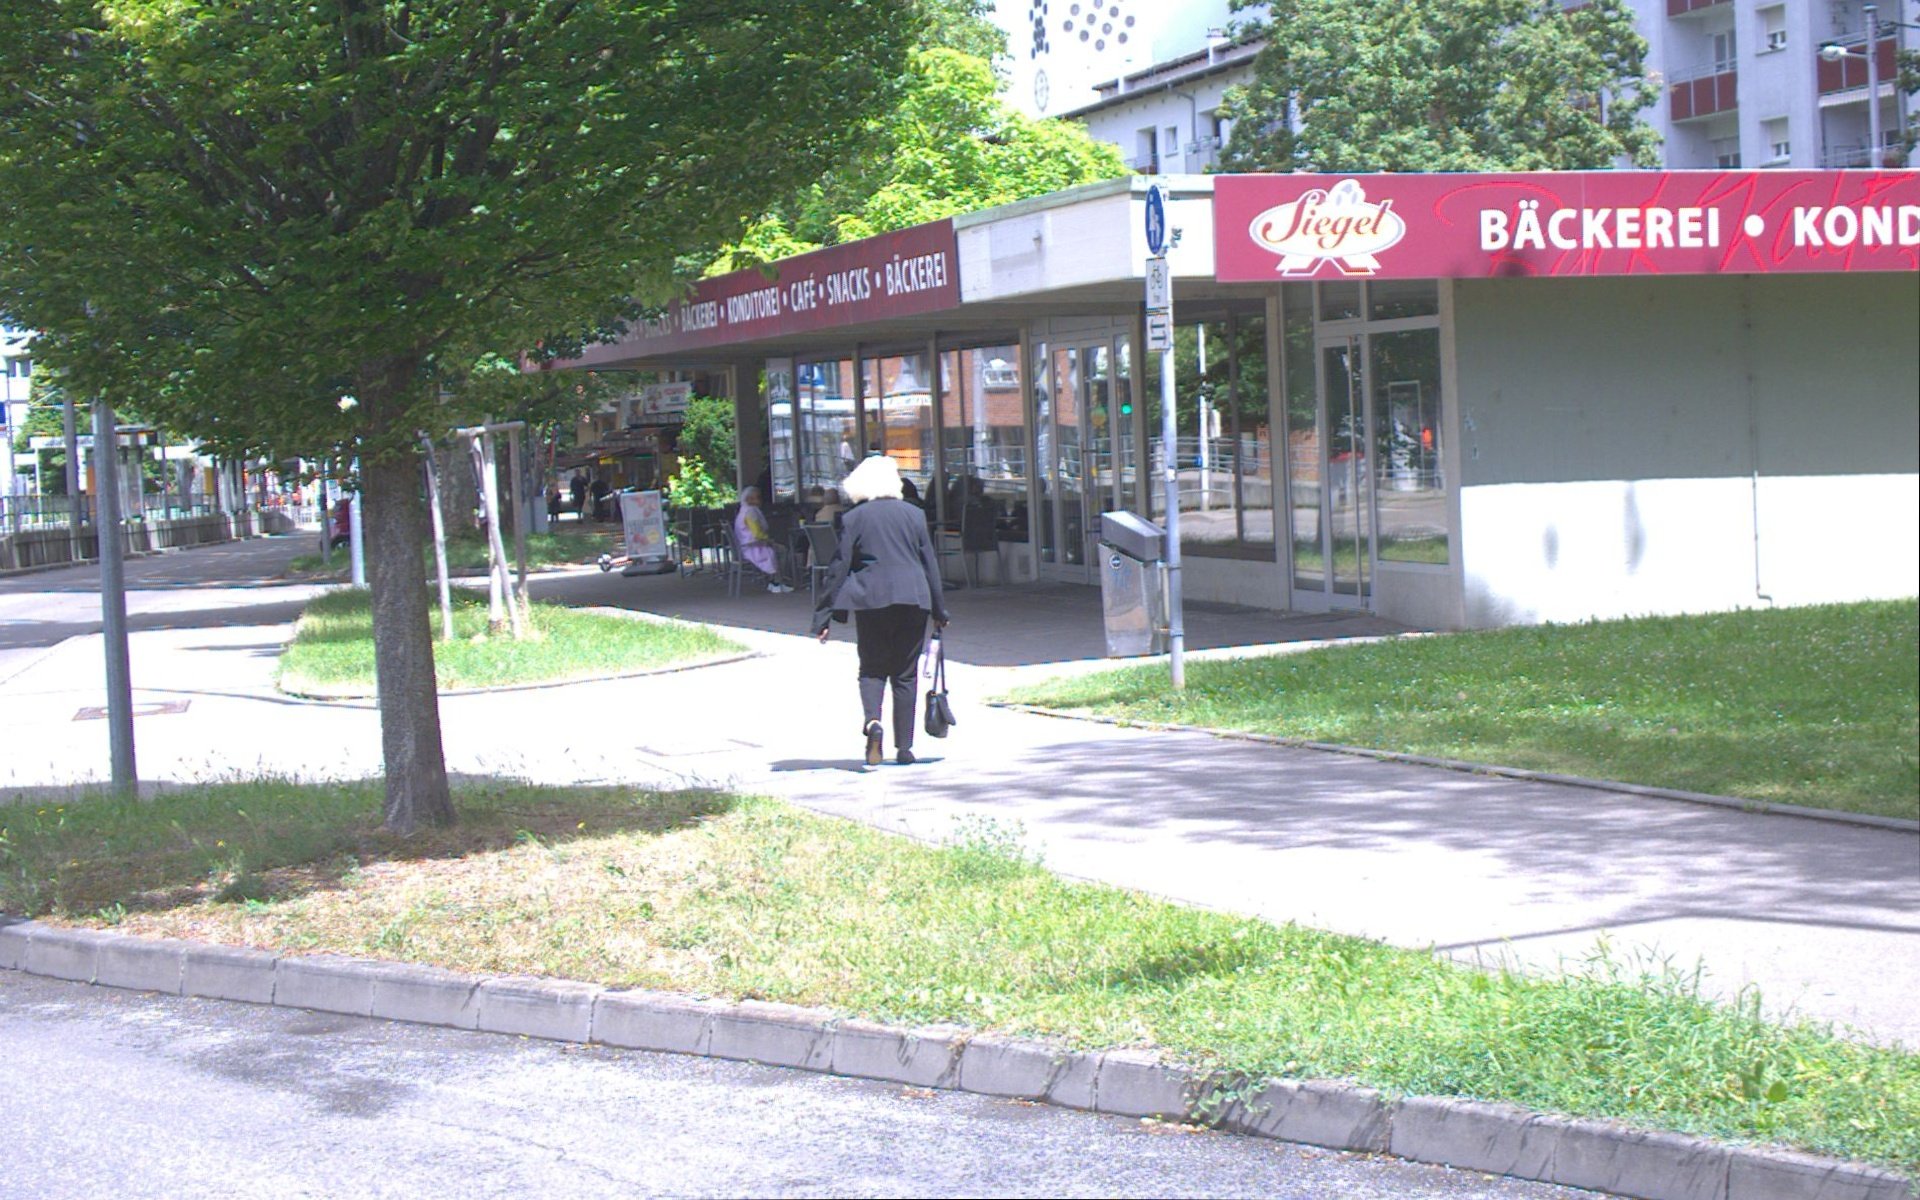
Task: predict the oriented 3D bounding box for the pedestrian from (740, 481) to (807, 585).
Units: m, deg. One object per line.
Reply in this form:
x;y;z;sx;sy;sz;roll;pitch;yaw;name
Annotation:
-2.226;-0.805;41.019;0.717;1.197;0.699;-3;2;-3;pedestrian

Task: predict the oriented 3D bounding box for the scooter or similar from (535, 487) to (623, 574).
-5.872;-1.084;53.074;0.518;1.222;1.730;-2;4;22;scooter or similar

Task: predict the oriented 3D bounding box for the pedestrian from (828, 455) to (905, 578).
-1.081;-0.969;39.718;0.717;1.376;0.699;-4;2;-10;pedestrian

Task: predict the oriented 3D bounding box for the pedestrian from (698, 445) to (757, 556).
-3.404;-1.458;50.285;0.696;1.568;0.557;-4;2;-13;pedestrian

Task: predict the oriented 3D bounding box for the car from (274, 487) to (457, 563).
-13.775;-1.747;79.864;3.986;1.506;2.001;-2;5;-5;car

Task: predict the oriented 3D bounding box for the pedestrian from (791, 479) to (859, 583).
-1.611;-0.828;40.960;0.717;1.197;0.699;-3;2;-3;pedestrian

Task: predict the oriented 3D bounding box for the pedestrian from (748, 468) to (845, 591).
-1.878;-0.813;39.425;0.877;1.320;0.823;-4;5;-17;pedestrian

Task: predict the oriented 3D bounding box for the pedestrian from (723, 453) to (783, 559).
-3.004;-1.366;49.789;0.696;1.483;0.557;-4;2;-13;pedestrian

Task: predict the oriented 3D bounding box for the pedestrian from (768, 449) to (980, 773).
-0.438;0.034;17.210;0.871;1.513;0.804;-4;5;-10;pedestrian

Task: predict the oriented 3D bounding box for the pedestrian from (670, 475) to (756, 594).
-2.881;-0.769;40.100;0.877;1.320;0.611;-4;2;-9;pedestrian
